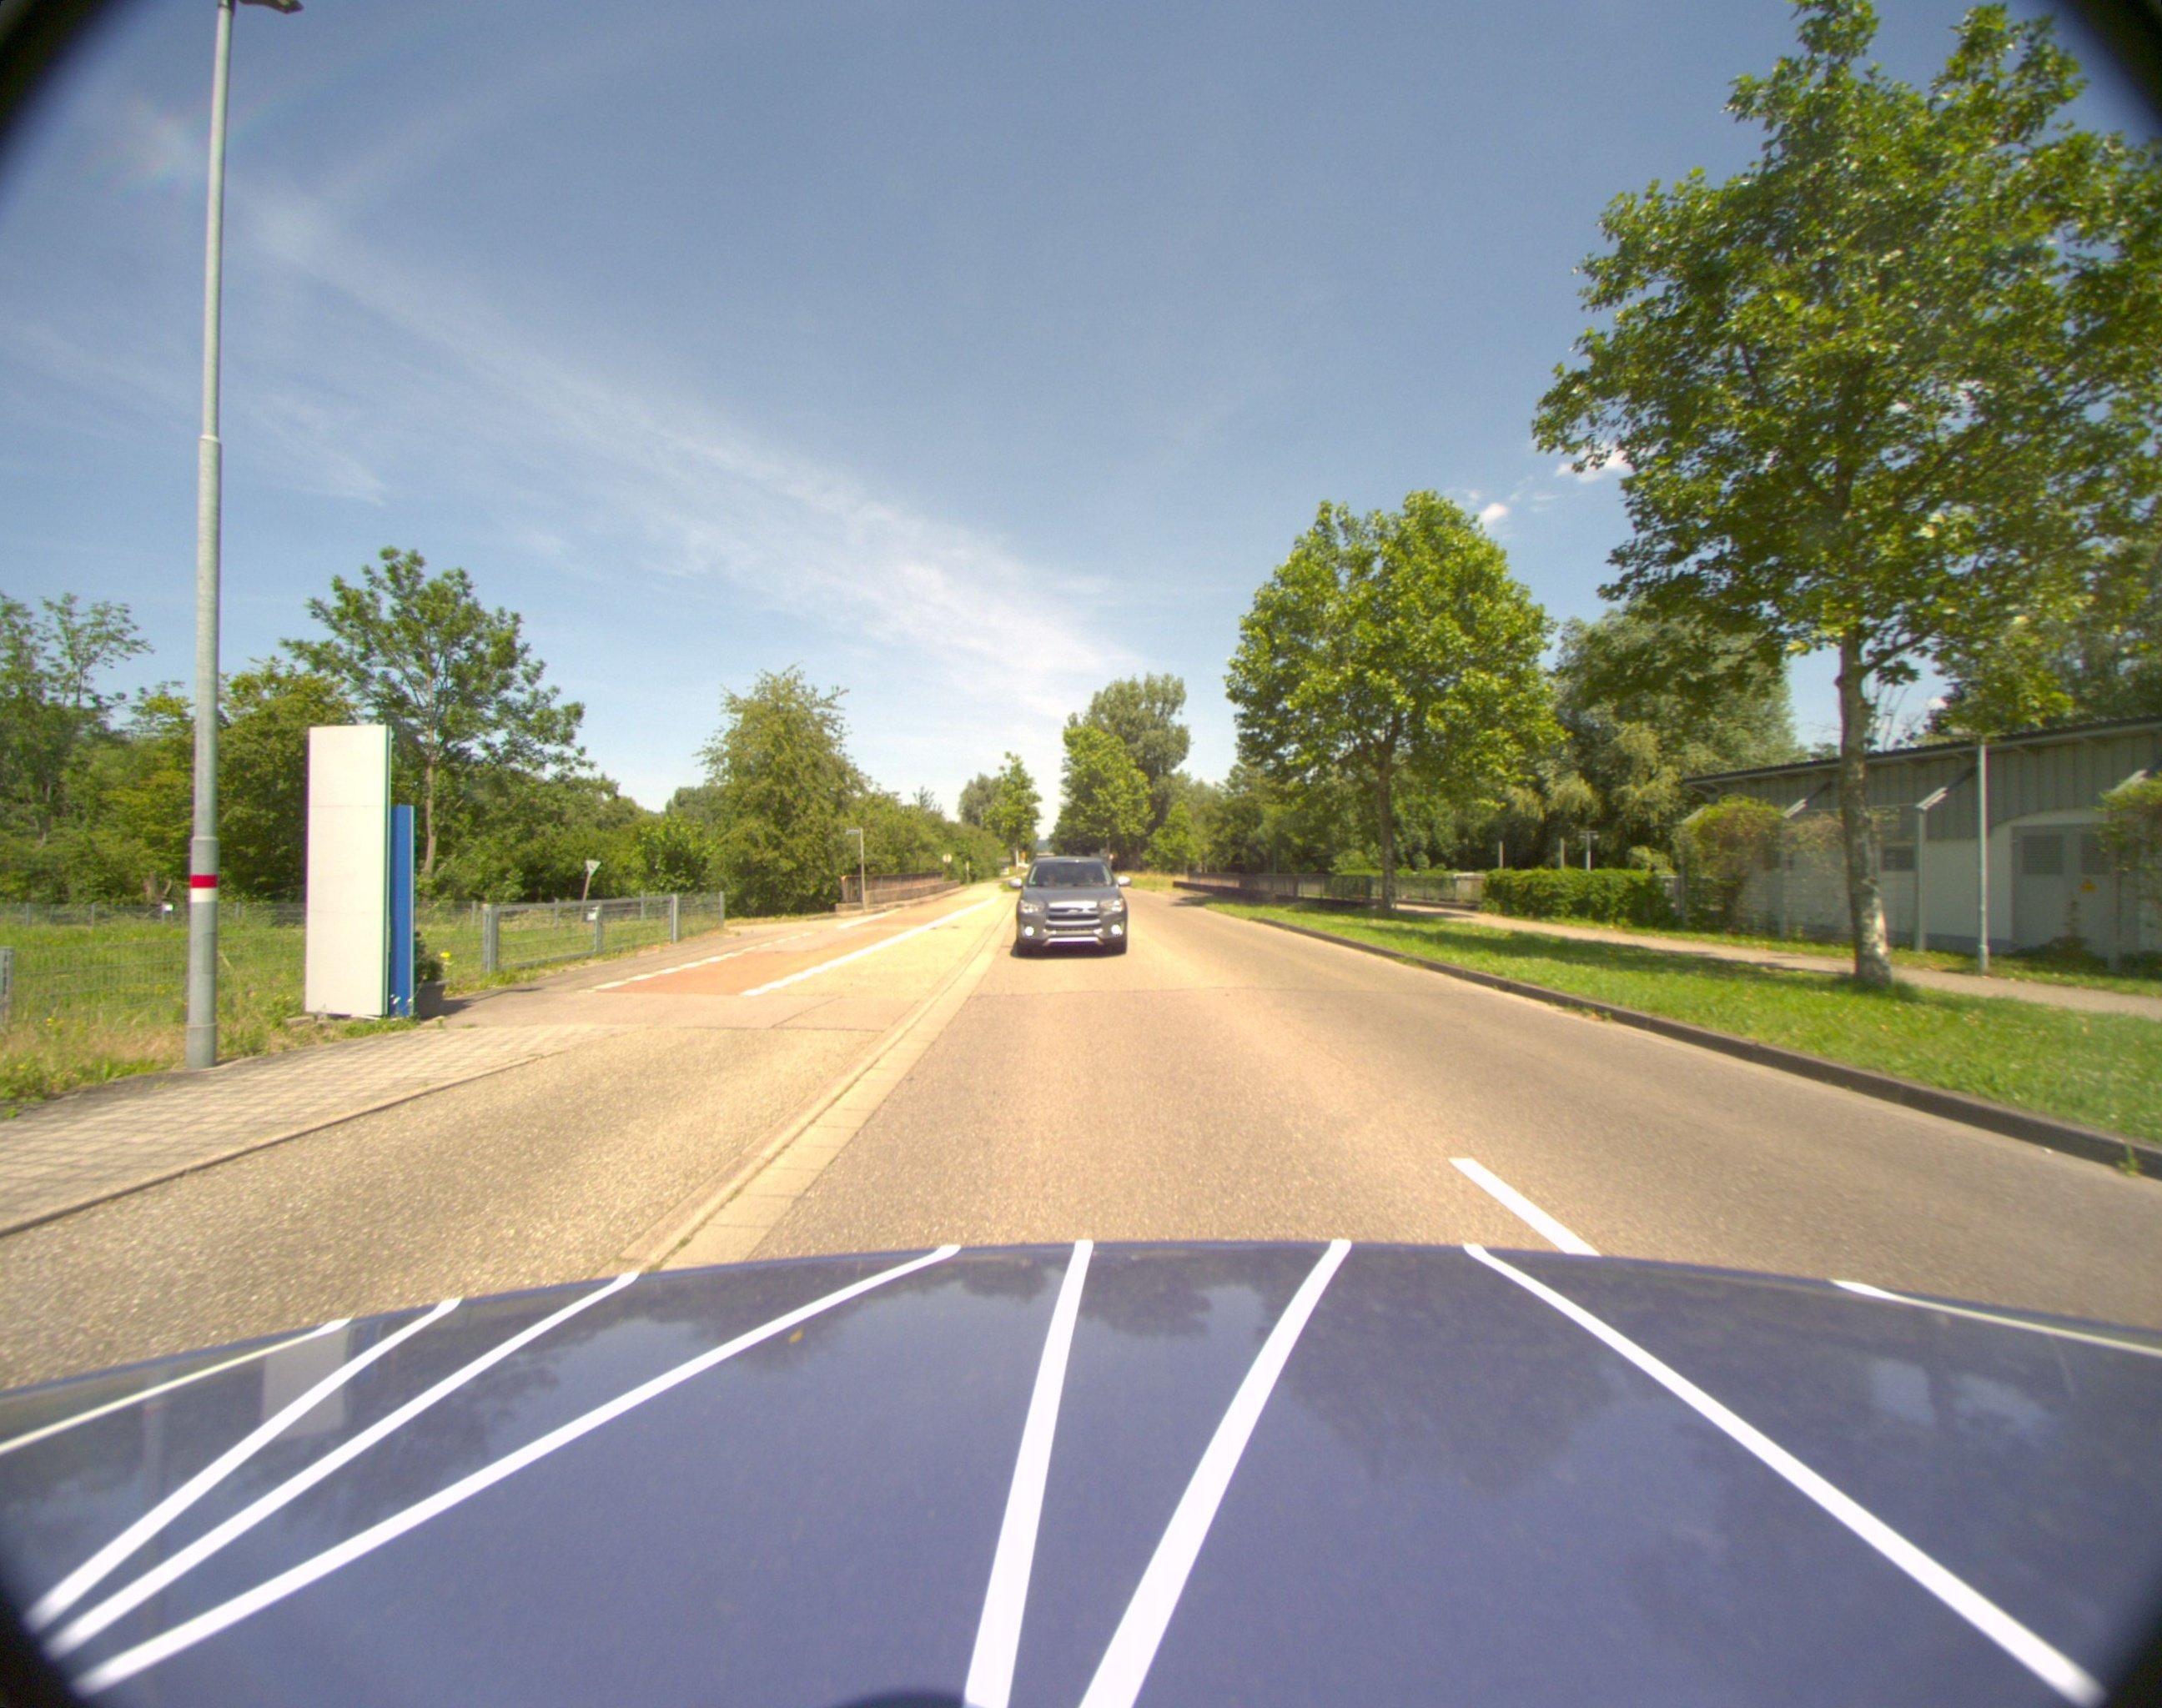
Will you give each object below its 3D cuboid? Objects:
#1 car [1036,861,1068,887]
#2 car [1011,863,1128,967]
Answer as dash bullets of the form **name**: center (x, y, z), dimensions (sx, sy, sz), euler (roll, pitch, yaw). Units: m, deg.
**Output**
- **car**: center (-1.689, 1.089, 43.454), dimensions (1.677, 1.342, 3.829), euler (-1, 0, -5)
- **car**: center (-0.284, 0.938, 13.669), dimensions (1.750, 1.525, 4.523), euler (0, 0, -3)
